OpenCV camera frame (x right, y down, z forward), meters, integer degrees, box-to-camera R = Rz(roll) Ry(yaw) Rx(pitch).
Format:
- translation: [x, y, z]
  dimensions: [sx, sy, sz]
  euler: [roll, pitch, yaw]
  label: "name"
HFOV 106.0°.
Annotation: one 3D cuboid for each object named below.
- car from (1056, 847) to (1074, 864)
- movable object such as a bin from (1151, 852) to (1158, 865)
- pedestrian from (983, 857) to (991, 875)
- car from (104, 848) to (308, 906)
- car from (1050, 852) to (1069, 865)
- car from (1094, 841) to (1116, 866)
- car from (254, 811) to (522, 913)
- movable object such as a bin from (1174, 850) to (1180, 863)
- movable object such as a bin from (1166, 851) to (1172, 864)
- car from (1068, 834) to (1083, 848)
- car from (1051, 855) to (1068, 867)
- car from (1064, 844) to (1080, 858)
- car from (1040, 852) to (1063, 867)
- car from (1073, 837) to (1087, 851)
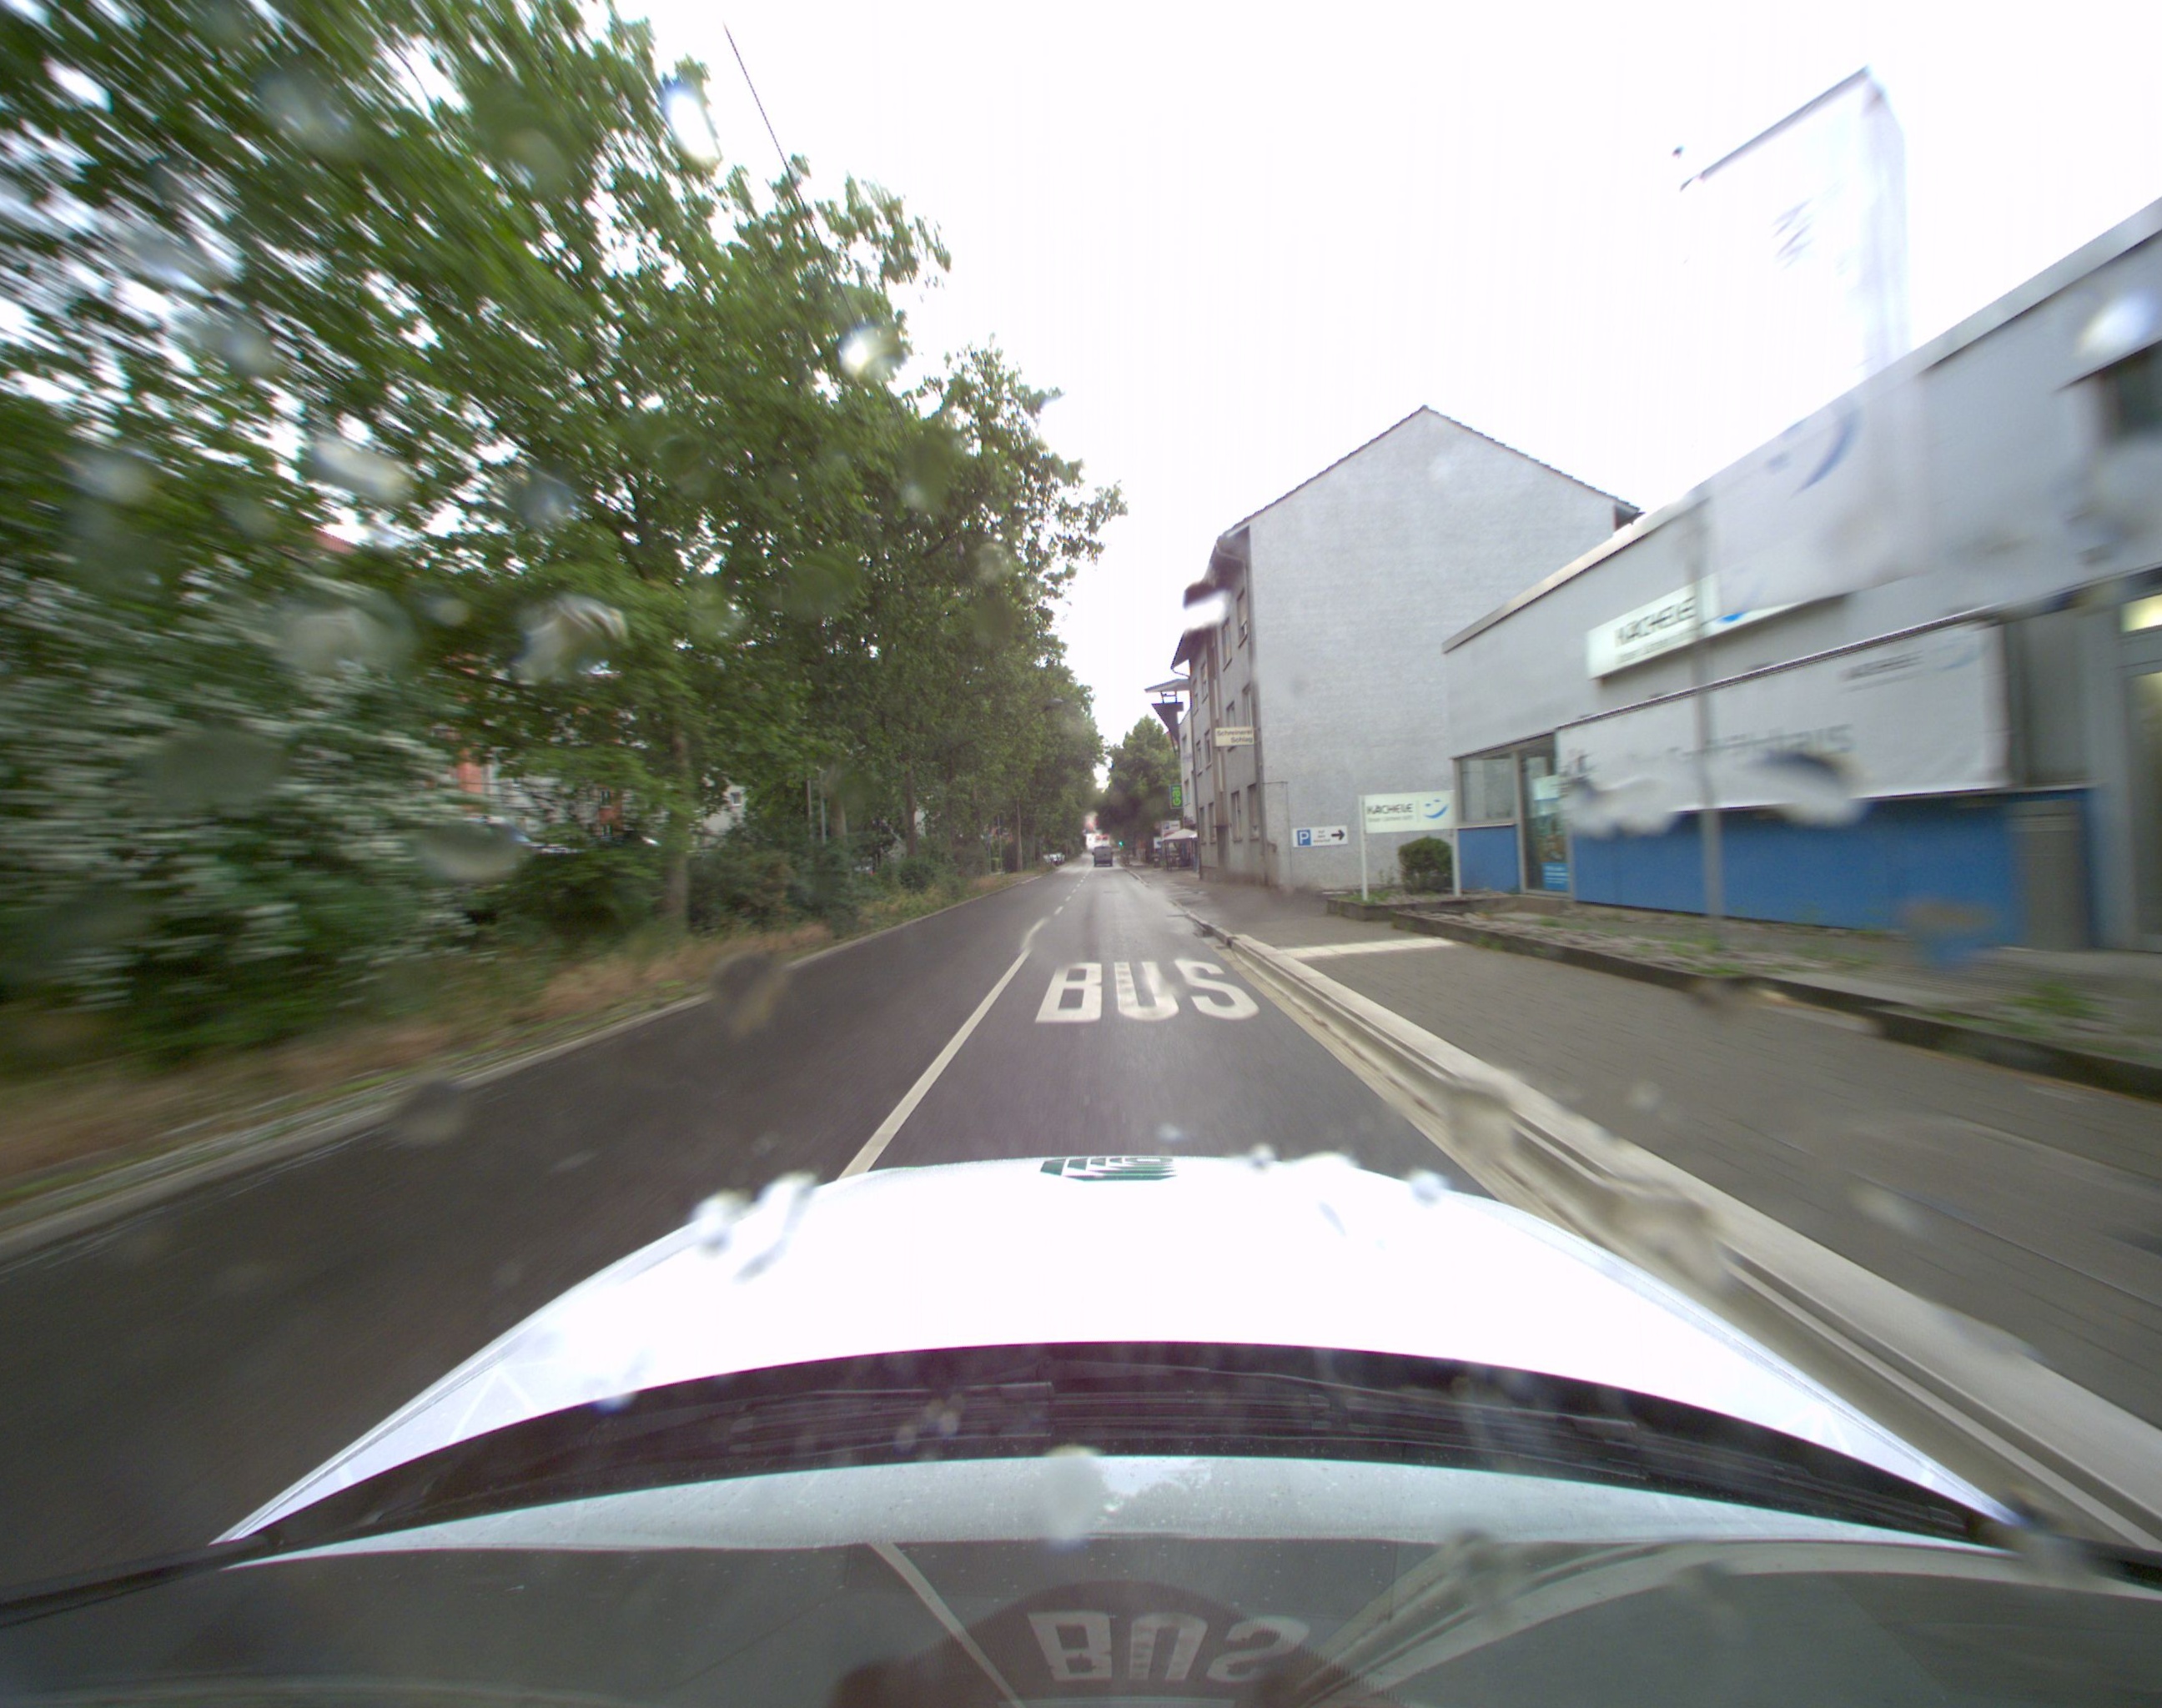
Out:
- translation: [-2.400, 0.257, 123.578]
  dimensions: [2.206, 2.534, 4.614]
  euler: [-1, -1, 4]
  label: "car"
- translation: [6.216, 0.361, 68.583]
  dimensions: [0.399, 1.066, 0.358]
  euler: [-6, -1, -5]
  label: "movable object such as a bin"
- translation: [-8.228, 1.062, 71.358]
  dimensions: [0.679, 1.571, 0.623]
  euler: [-1, -1, -1]
  label: "pedestrian"
- translation: [-24.737, 0.629, 23.120]
  dimensions: [3.973, 1.431, 1.665]
  euler: [-2, 0, 1]
  label: "car"
- translation: [-3.080, 0.646, 117.929]
  dimensions: [2.206, 1.691, 4.613]
  euler: [-1, -2, 4]
  label: "car"
- translation: [2.623, 0.004, 90.088]
  dimensions: [2.274, 2.553, 4.001]
  euler: [-2, -2, 2]
  label: "car"
- translation: [-14.999, 0.162, 17.828]
  dimensions: [4.162, 2.013, 1.716]
  euler: [-2, 0, -6]
  label: "car"
- translation: [8.086, 0.220, 68.574]
  dimensions: [0.356, 1.067, 0.358]
  euler: [-1, -2, -5]
  label: "movable object such as a bin"
- translation: [7.441, 0.261, 68.553]
  dimensions: [0.399, 1.067, 0.358]
  euler: [-2, -2, -5]
  label: "movable object such as a bin"
- translation: [-0.889, -2.194, 143.279]
  dimensions: [2.206, 2.294, 4.614]
  euler: [-1, -1, 4]
  label: "car"
- translation: [-2.970, 0.964, 112.974]
  dimensions: [1.986, 1.543, 4.613]
  euler: [-1, -2, 4]
  label: "car"
- translation: [-1.447, -0.458, 135.183]
  dimensions: [2.206, 2.294, 4.614]
  euler: [-1, -1, 4]
  label: "car"
- translation: [-3.526, 0.699, 97.918]
  dimensions: [2.206, 1.592, 4.613]
  euler: [-1, -2, 4]
  label: "car"
- translation: [-0.195, -1.831, 150.891]
  dimensions: [2.204, 2.294, 4.616]
  euler: [-1, -2, 6]
  label: "car"
